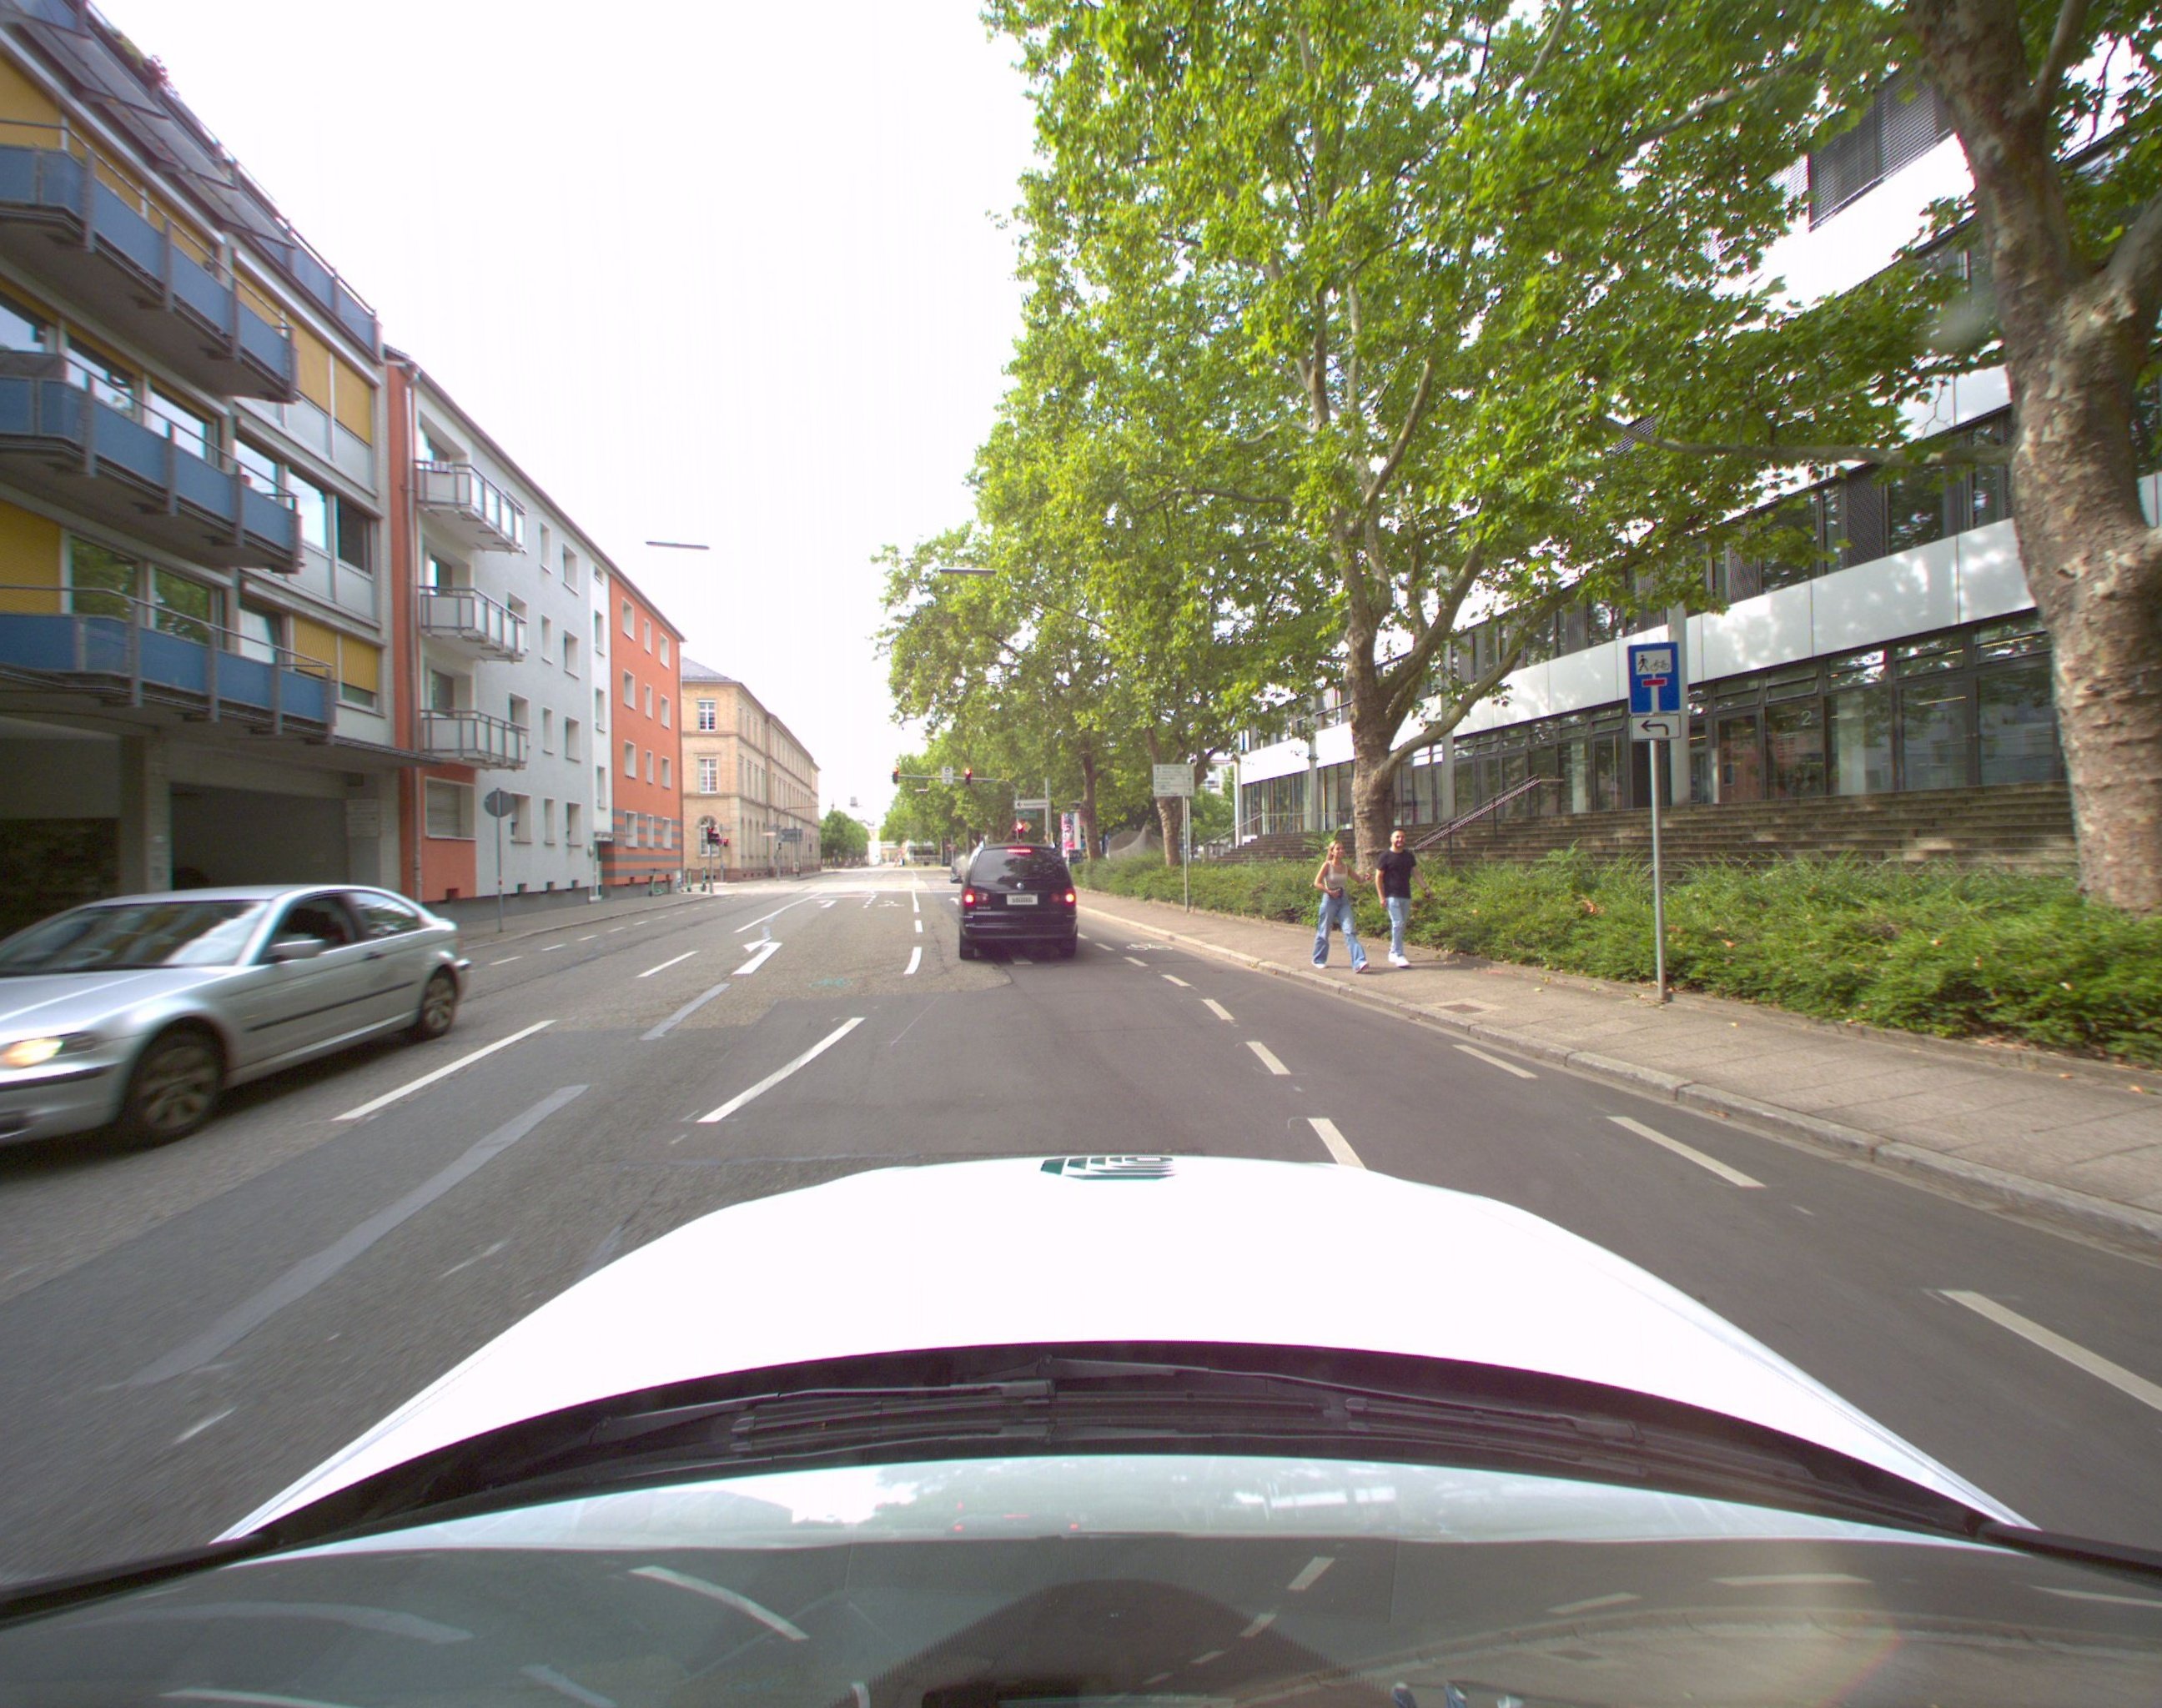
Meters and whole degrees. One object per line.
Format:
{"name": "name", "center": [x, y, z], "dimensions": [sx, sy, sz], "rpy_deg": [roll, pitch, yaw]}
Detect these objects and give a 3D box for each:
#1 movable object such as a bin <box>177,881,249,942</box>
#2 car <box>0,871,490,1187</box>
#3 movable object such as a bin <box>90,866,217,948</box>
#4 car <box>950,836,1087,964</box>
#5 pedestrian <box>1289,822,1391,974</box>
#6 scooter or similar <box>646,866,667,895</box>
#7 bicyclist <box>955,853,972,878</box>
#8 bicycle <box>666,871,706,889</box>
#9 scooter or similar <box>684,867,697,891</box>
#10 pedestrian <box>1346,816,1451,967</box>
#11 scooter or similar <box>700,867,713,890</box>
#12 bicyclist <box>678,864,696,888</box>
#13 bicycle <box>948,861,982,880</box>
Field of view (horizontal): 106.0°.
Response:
{"name": "movable object such as a bin", "center": [-16.821, 1.098, 15.800], "dimensions": [0.642, 1.126, 0.707], "rpy_deg": [-1, 0, -12]}
{"name": "car", "center": [-6.187, 0.909, 5.736], "dimensions": [1.759, 1.427, 4.080], "rpy_deg": [-3, 0, -13]}
{"name": "movable object such as a bin", "center": [-17.743, 0.985, 15.618], "dimensions": [1.190, 1.464, 1.049], "rpy_deg": [-1, 0, -12]}
{"name": "car", "center": [-1.075, 0.626, 13.590], "dimensions": [1.871, 1.745, 4.564], "rpy_deg": [-1, 0, -6]}
{"name": "pedestrian", "center": [3.249, 0.529, 10.296], "dimensions": [0.711, 1.783, 1.029], "rpy_deg": [-3, 0, -13]}
{"name": "scooter or similar", "center": [-17.756, 1.122, 34.077], "dimensions": [0.378, 1.184, 1.384], "rpy_deg": [-1, -2, -12]}
{"name": "bicyclist", "center": [-7.320, 0.696, 50.779], "dimensions": [0.919, 1.514, 0.621], "rpy_deg": [-1, 0, -25]}
{"name": "bicycle", "center": [-25.072, 1.638, 51.714], "dimensions": [2.239, 1.094, 0.624], "rpy_deg": [-1, 0, -18]}
{"name": "scooter or similar", "center": [-19.209, 1.216, 40.094], "dimensions": [0.379, 1.147, 1.135], "rpy_deg": [-1, -2, -16]}
{"name": "pedestrian", "center": [4.043, 0.455, 10.430], "dimensions": [0.716, 1.800, 1.029], "rpy_deg": [-3, 0, -13]}
{"name": "scooter or similar", "center": [-18.746, 1.224, 40.754], "dimensions": [0.379, 1.144, 1.135], "rpy_deg": [-1, -2, -16]}
{"name": "bicyclist", "center": [-25.046, 1.368, 51.735], "dimensions": [0.916, 1.493, 0.623], "rpy_deg": [-1, 0, -17]}
{"name": "bicycle", "center": [-7.249, 1.006, 50.807], "dimensions": [2.028, 1.094, 0.622], "rpy_deg": [-1, 0, -25]}
